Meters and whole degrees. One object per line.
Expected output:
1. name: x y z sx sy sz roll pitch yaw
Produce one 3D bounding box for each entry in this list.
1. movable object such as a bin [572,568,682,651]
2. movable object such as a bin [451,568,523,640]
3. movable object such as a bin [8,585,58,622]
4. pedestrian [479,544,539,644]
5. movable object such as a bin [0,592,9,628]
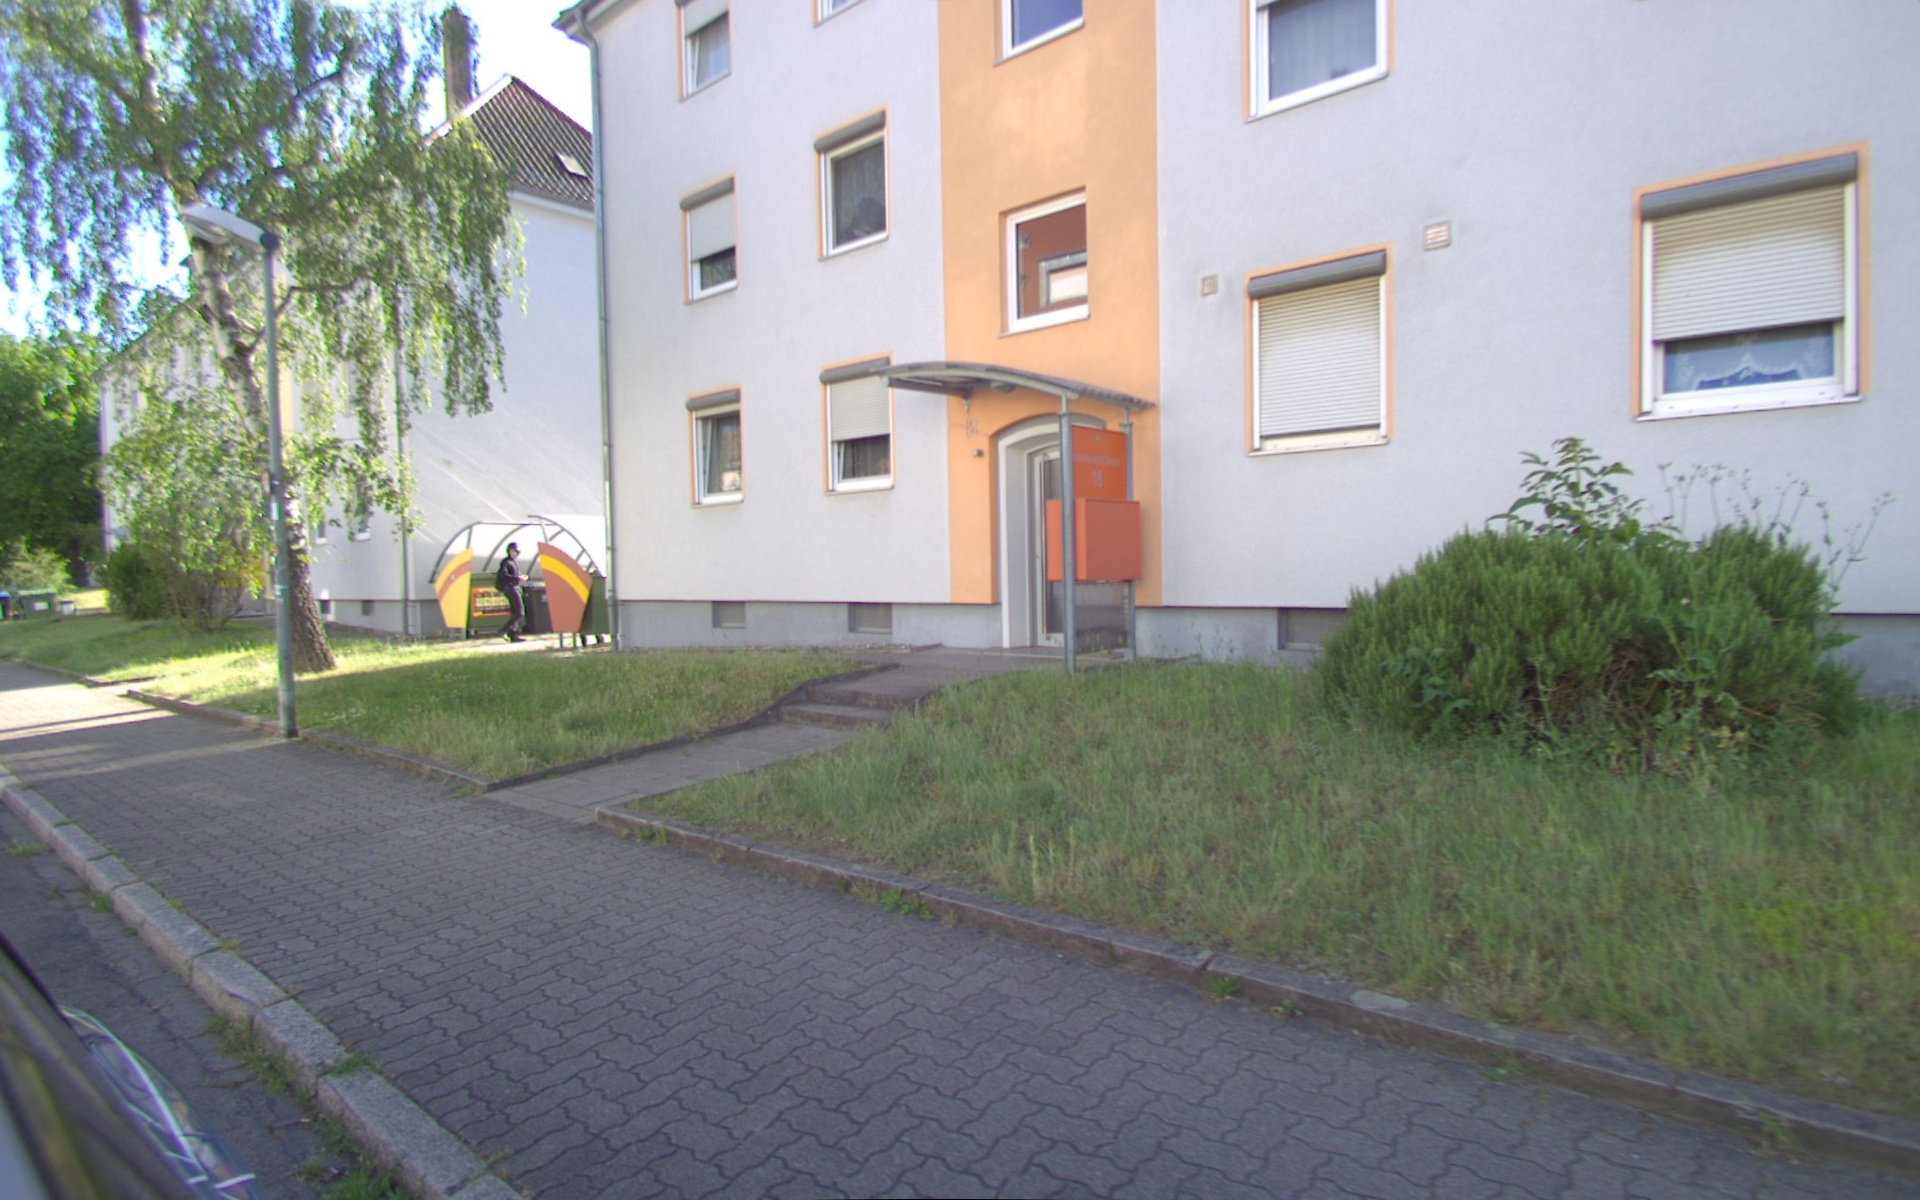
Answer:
1. movable object such as a bin: -5.929 0.153 18.027 1.227 1.345 1.374 0 3 40
2. movable object such as a bin: -9.734 0.067 20.845 0.812 1.416 1.073 0 2 41
3. movable object such as a bin: -40.068 0.134 43.730 1.072 1.463 1.347 0 6 41
4. pedestrian: -8.543 -0.125 19.176 0.718 1.837 0.797 0 1 41
5. movable object such as a bin: -41.049 0.475 42.532 1.082 1.470 1.342 0 6 41
